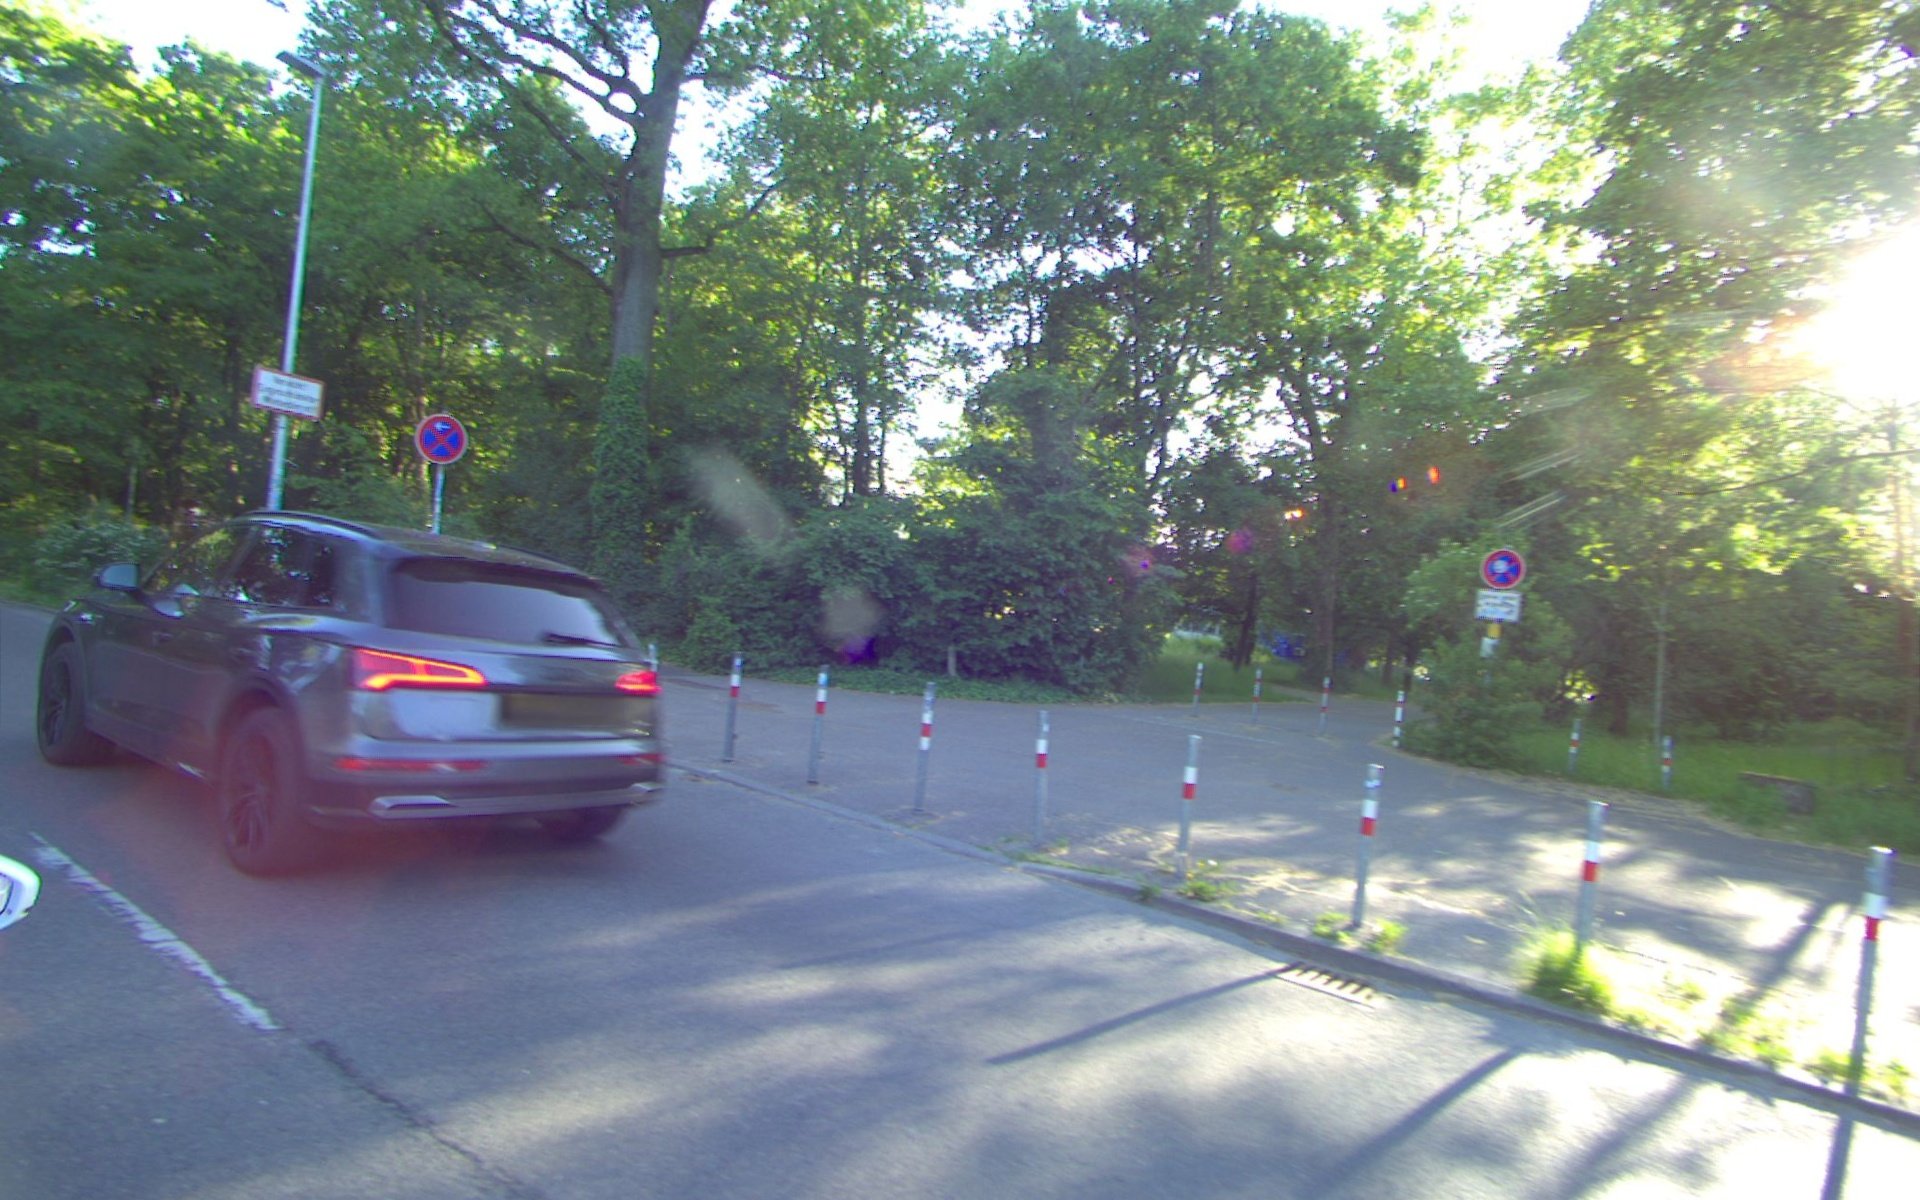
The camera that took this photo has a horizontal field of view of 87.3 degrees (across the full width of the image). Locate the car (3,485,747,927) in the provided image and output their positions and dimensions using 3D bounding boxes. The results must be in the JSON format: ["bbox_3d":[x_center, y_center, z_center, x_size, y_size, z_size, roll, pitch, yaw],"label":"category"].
[{"bbox_3d":[-3.564,0.366,5.890,4.293,1.625,1.990,6,-2,34],"label":"car"}]
